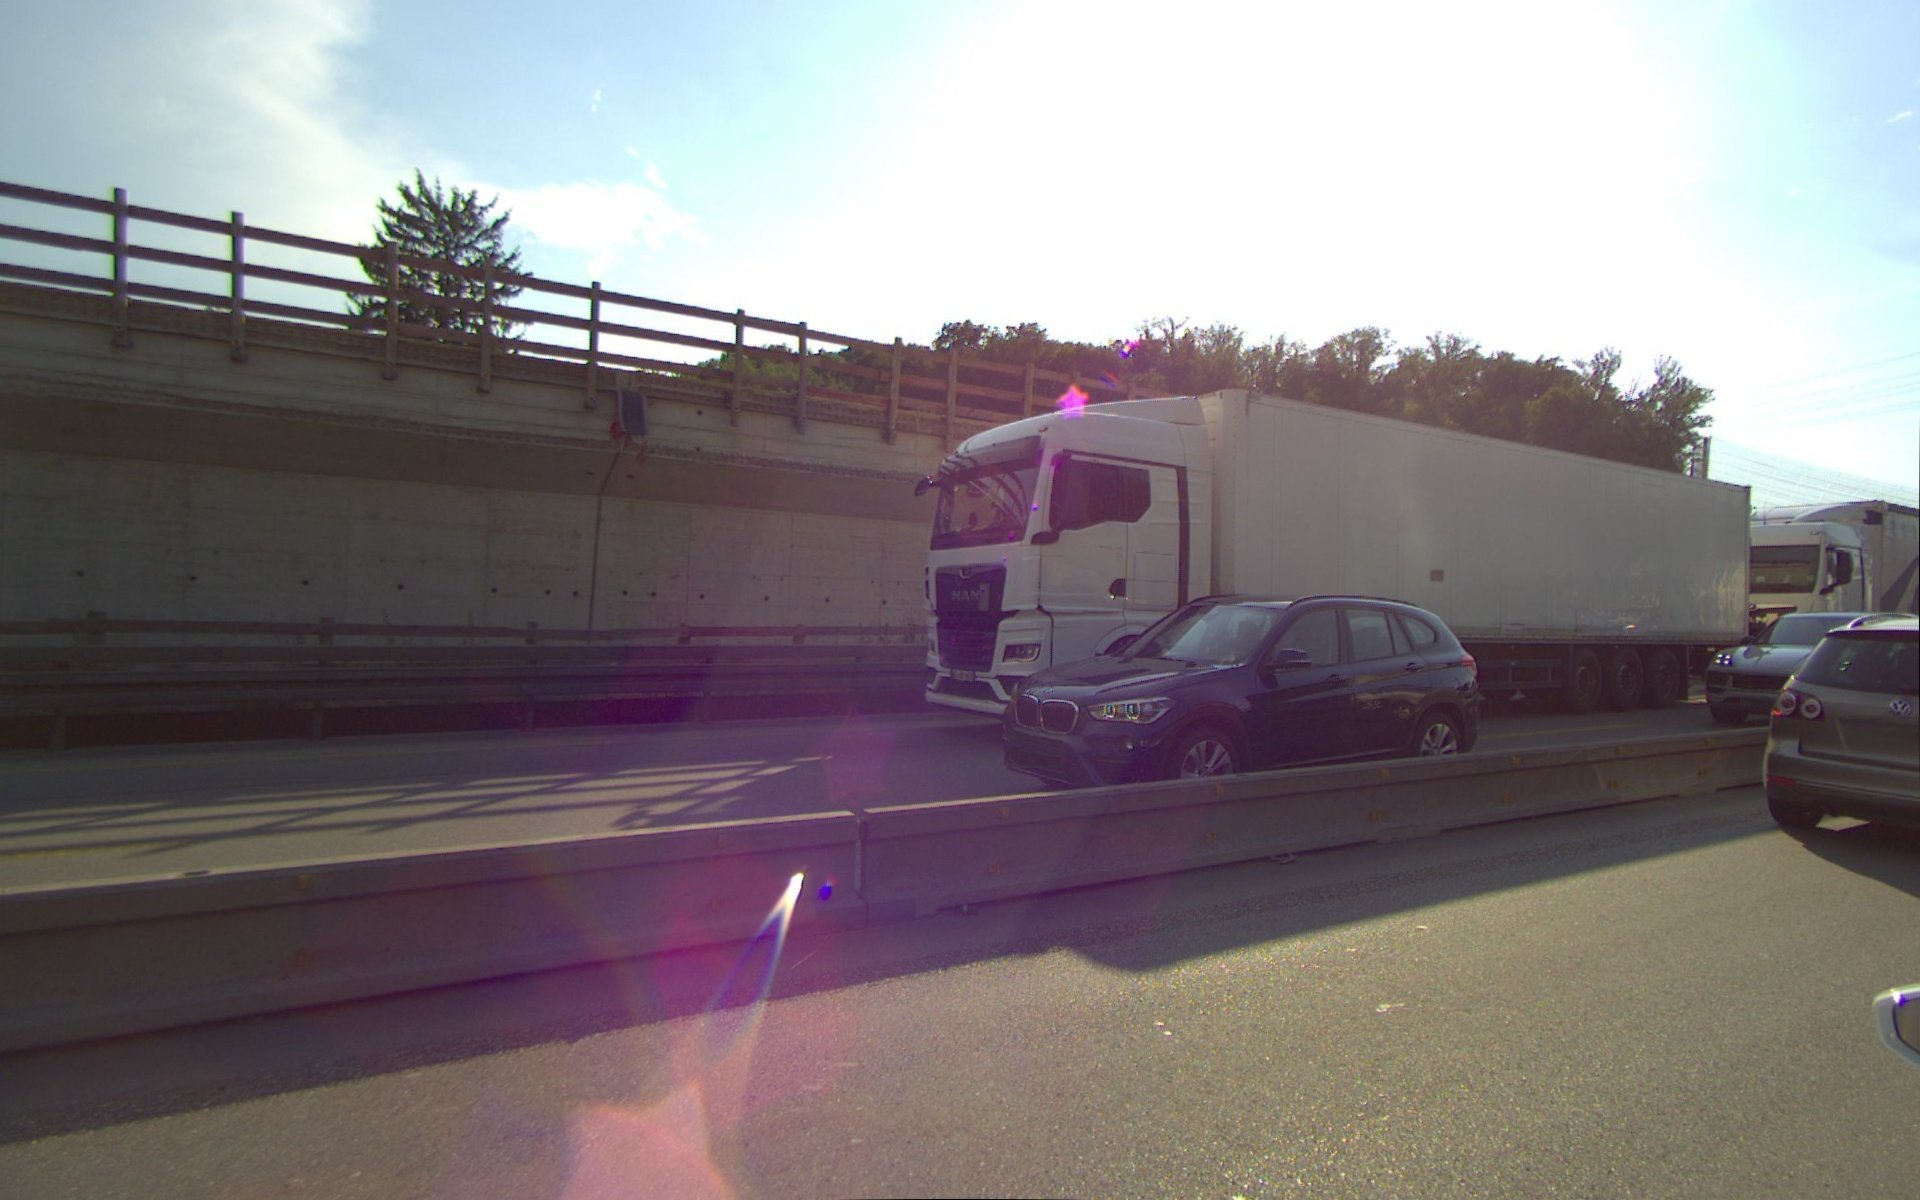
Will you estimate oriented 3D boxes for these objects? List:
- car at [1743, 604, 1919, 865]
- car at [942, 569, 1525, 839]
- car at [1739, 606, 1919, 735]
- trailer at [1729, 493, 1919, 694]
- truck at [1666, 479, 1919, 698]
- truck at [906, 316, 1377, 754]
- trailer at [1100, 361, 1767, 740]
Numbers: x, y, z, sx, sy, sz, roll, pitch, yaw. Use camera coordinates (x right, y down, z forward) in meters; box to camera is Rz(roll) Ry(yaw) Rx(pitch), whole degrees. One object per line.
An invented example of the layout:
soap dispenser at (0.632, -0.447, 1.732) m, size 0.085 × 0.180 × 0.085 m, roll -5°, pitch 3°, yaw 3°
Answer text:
car at (7.663, 0.894, 7.396) m, size 4.101 × 1.608 × 1.691 m, roll 2°, pitch 0°, yaw -32°
car at (2.363, 0.702, 8.253) m, size 4.678 × 1.628 × 1.870 m, roll 2°, pitch 2°, yaw -32°
car at (14.711, 1.058, 16.031) m, size 4.920 × 1.677 × 1.996 m, roll 2°, pitch 2°, yaw -33°
trailer at (24.587, 0.041, 26.033) m, size 13.680 × 4.259 × 2.761 m, roll 2°, pitch 0°, yaw -32°
truck at (18.718, -0.153, 22.331) m, size 6.047 × 4.259 × 2.749 m, roll 2°, pitch 0°, yaw -32°
truck at (2.332, -0.586, 12.487) m, size 5.410 × 4.373 × 2.443 m, roll 2°, pitch 0°, yaw -31°
trailer at (8.416, -0.389, 16.138) m, size 13.616 × 4.377 × 2.443 m, roll 2°, pitch 0°, yaw -31°
